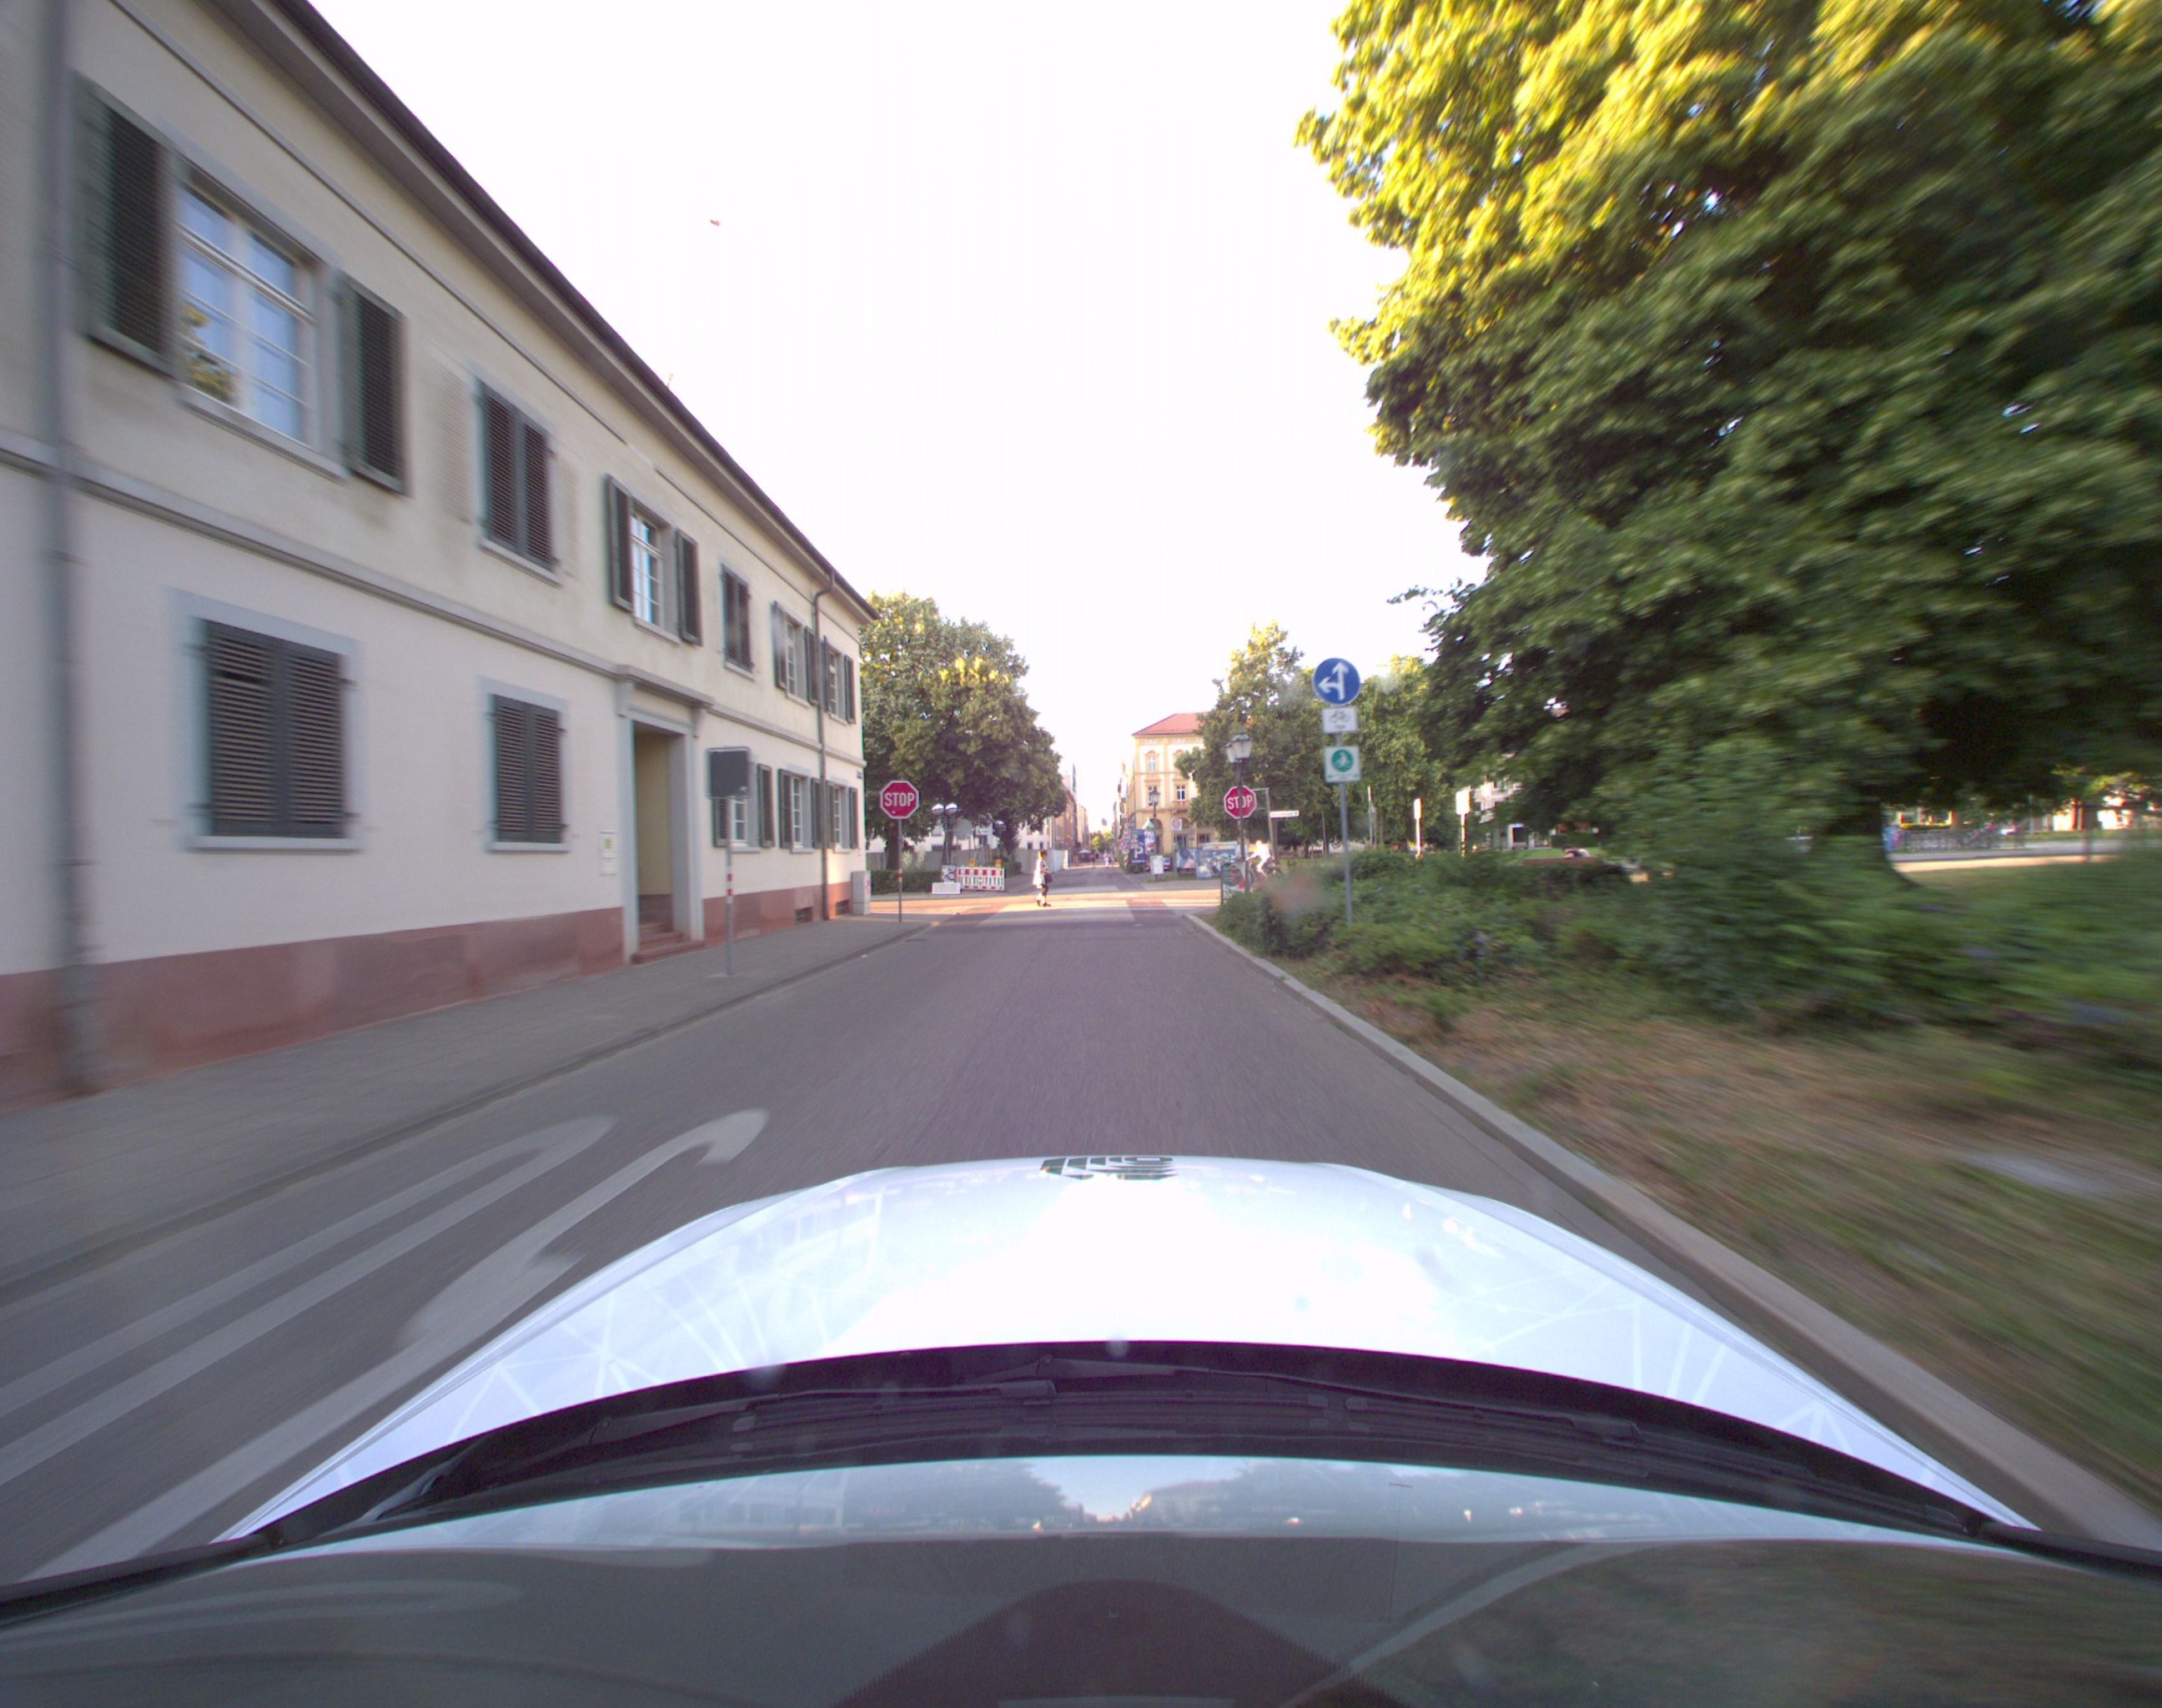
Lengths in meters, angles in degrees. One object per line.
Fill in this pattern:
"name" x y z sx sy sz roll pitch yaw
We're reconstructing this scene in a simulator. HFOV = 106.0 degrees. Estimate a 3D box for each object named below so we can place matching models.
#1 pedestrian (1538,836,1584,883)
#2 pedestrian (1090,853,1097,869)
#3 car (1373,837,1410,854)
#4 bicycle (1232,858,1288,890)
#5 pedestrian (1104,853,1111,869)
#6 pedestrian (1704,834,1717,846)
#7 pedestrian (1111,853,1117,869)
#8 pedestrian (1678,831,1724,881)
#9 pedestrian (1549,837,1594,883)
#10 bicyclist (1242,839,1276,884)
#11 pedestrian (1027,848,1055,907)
"pedestrian" 13.231 0.158 22.451 0.685 1.237 0.811 -2 0 -29
"pedestrian" 1.344 0.754 88.784 0.655 1.760 0.745 -2 0 2
"car" 40.617 -1.111 106.668 4.015 2.013 2.001 -2 0 2
"bicycle" 6.772 0.744 30.829 1.925 1.121 0.595 -2 0 -7
"pedestrian" 2.836 0.754 87.397 0.655 1.617 0.745 -2 0 2
"pedestrian" 51.303 -1.170 66.363 0.512 0.924 0.616 -2 0 -24
"pedestrian" 3.528 0.736 87.274 0.655 1.617 0.745 -2 0 2
"pedestrian" 17.357 0.057 22.799 0.595 1.342 0.817 -2 0 -4
"pedestrian" 13.755 0.164 22.859 0.600 1.261 0.865 -2 0 -29
"bicyclist" 6.737 0.278 30.846 1.060 1.633 0.595 -2 0 -7
"pedestrian" -1.183 0.682 24.223 0.731 1.689 0.836 -2 0 1
